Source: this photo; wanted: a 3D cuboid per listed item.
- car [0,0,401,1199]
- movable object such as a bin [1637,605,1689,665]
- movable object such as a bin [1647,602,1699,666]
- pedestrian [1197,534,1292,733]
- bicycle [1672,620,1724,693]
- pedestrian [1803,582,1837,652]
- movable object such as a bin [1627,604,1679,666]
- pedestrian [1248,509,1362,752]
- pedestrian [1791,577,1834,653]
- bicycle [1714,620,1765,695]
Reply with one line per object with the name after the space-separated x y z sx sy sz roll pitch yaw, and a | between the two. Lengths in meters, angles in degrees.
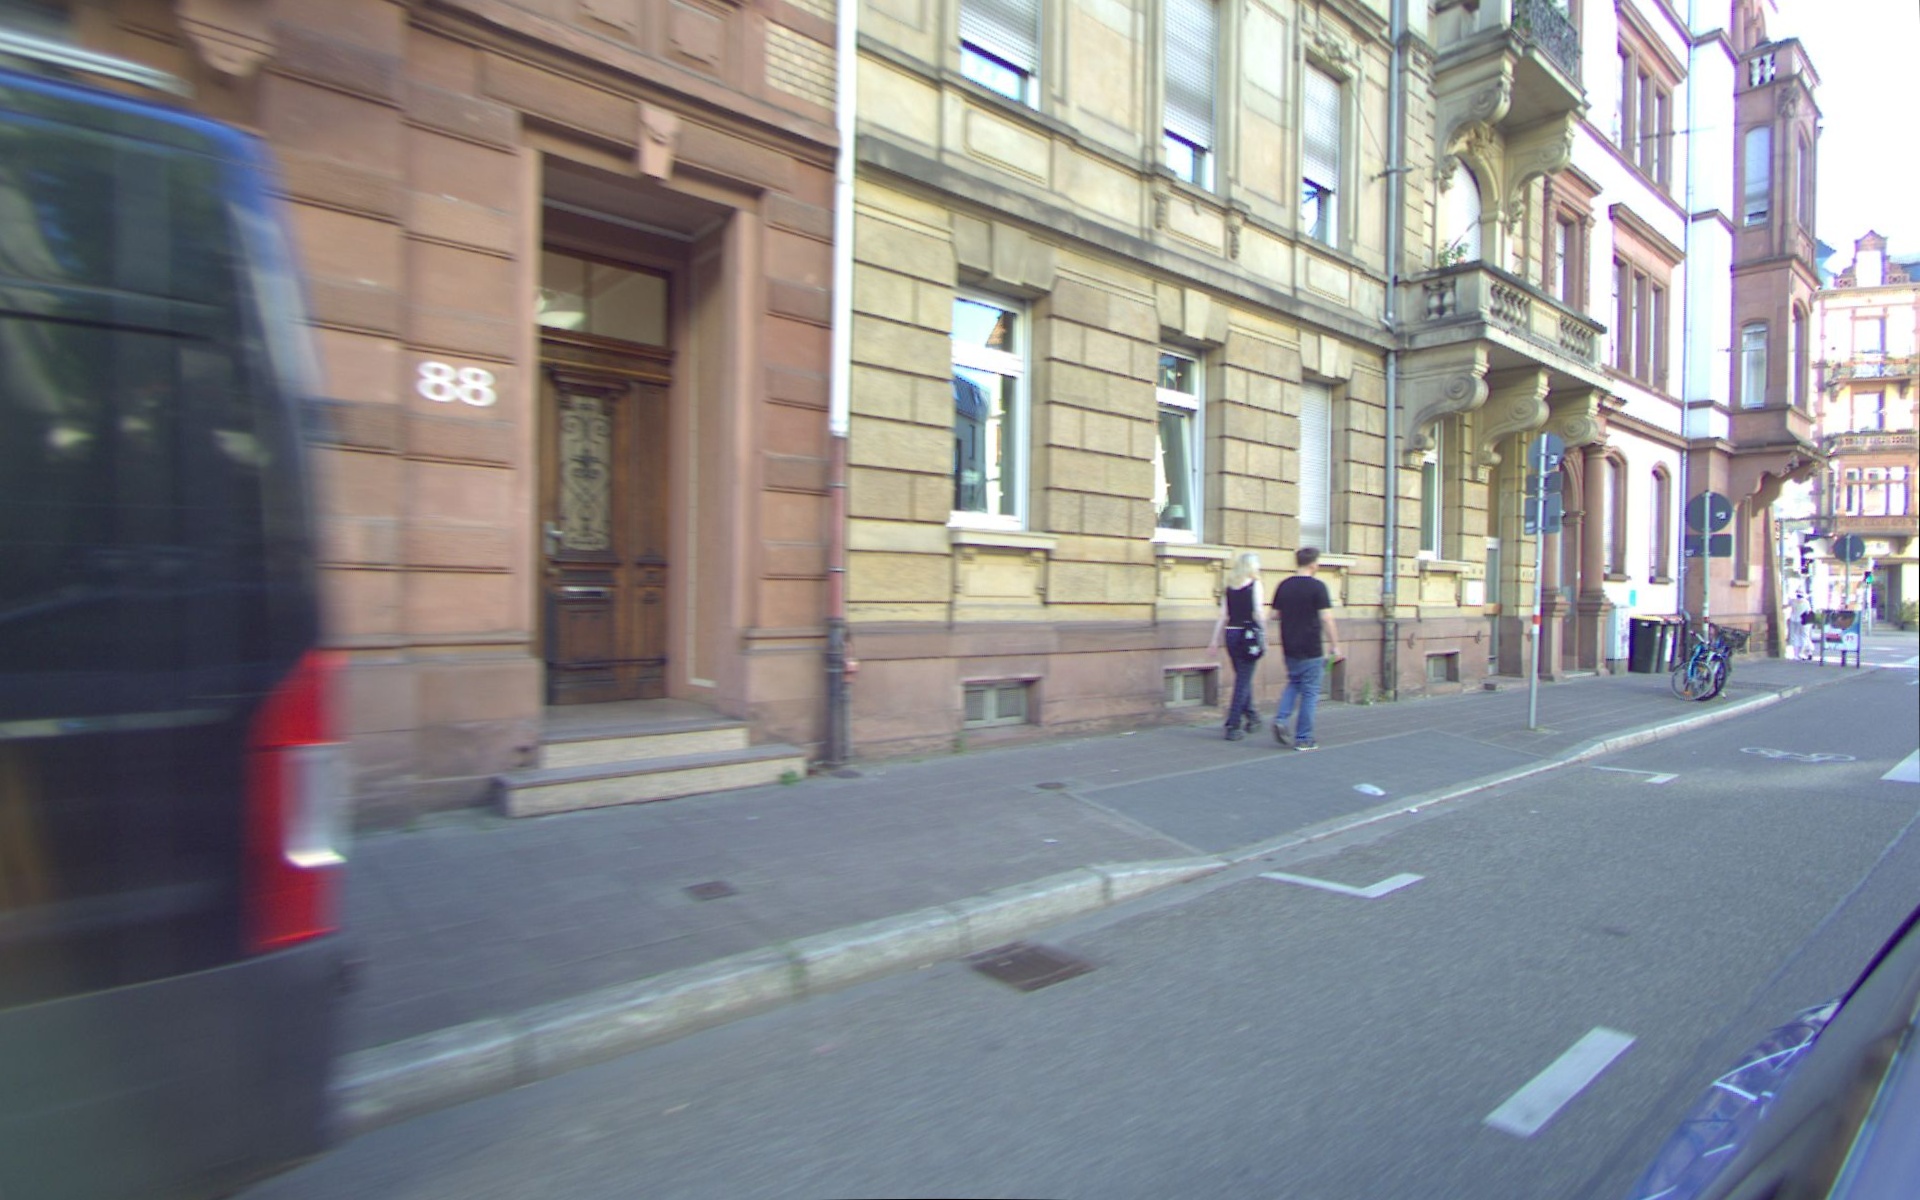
-3.981 0.114 1.067 5.616 2.466 2.278 0 3 -39 | car
13.328 0.651 19.183 0.561 1.090 0.667 1 1 -41 | movable object such as a bin
13.808 0.646 19.606 0.584 1.168 0.667 1 2 -42 | movable object such as a bin
2.688 0.292 9.558 0.596 1.804 0.554 0 3 -42 | pedestrian
10.765 0.791 14.741 0.431 0.959 1.737 1 1 42 | bicycle
21.622 0.423 25.448 0.625 1.722 0.672 1 0 41 | pedestrian
12.820 0.635 18.717 0.561 1.090 0.667 0 1 -41 | movable object such as a bin
3.054 0.246 8.963 0.809 2.038 0.586 0 2 -42 | pedestrian
20.608 0.366 24.453 0.661 1.805 0.706 3 -2 -42 | pedestrian
11.121 0.787 14.424 0.431 0.959 1.737 1 1 42 | bicycle
